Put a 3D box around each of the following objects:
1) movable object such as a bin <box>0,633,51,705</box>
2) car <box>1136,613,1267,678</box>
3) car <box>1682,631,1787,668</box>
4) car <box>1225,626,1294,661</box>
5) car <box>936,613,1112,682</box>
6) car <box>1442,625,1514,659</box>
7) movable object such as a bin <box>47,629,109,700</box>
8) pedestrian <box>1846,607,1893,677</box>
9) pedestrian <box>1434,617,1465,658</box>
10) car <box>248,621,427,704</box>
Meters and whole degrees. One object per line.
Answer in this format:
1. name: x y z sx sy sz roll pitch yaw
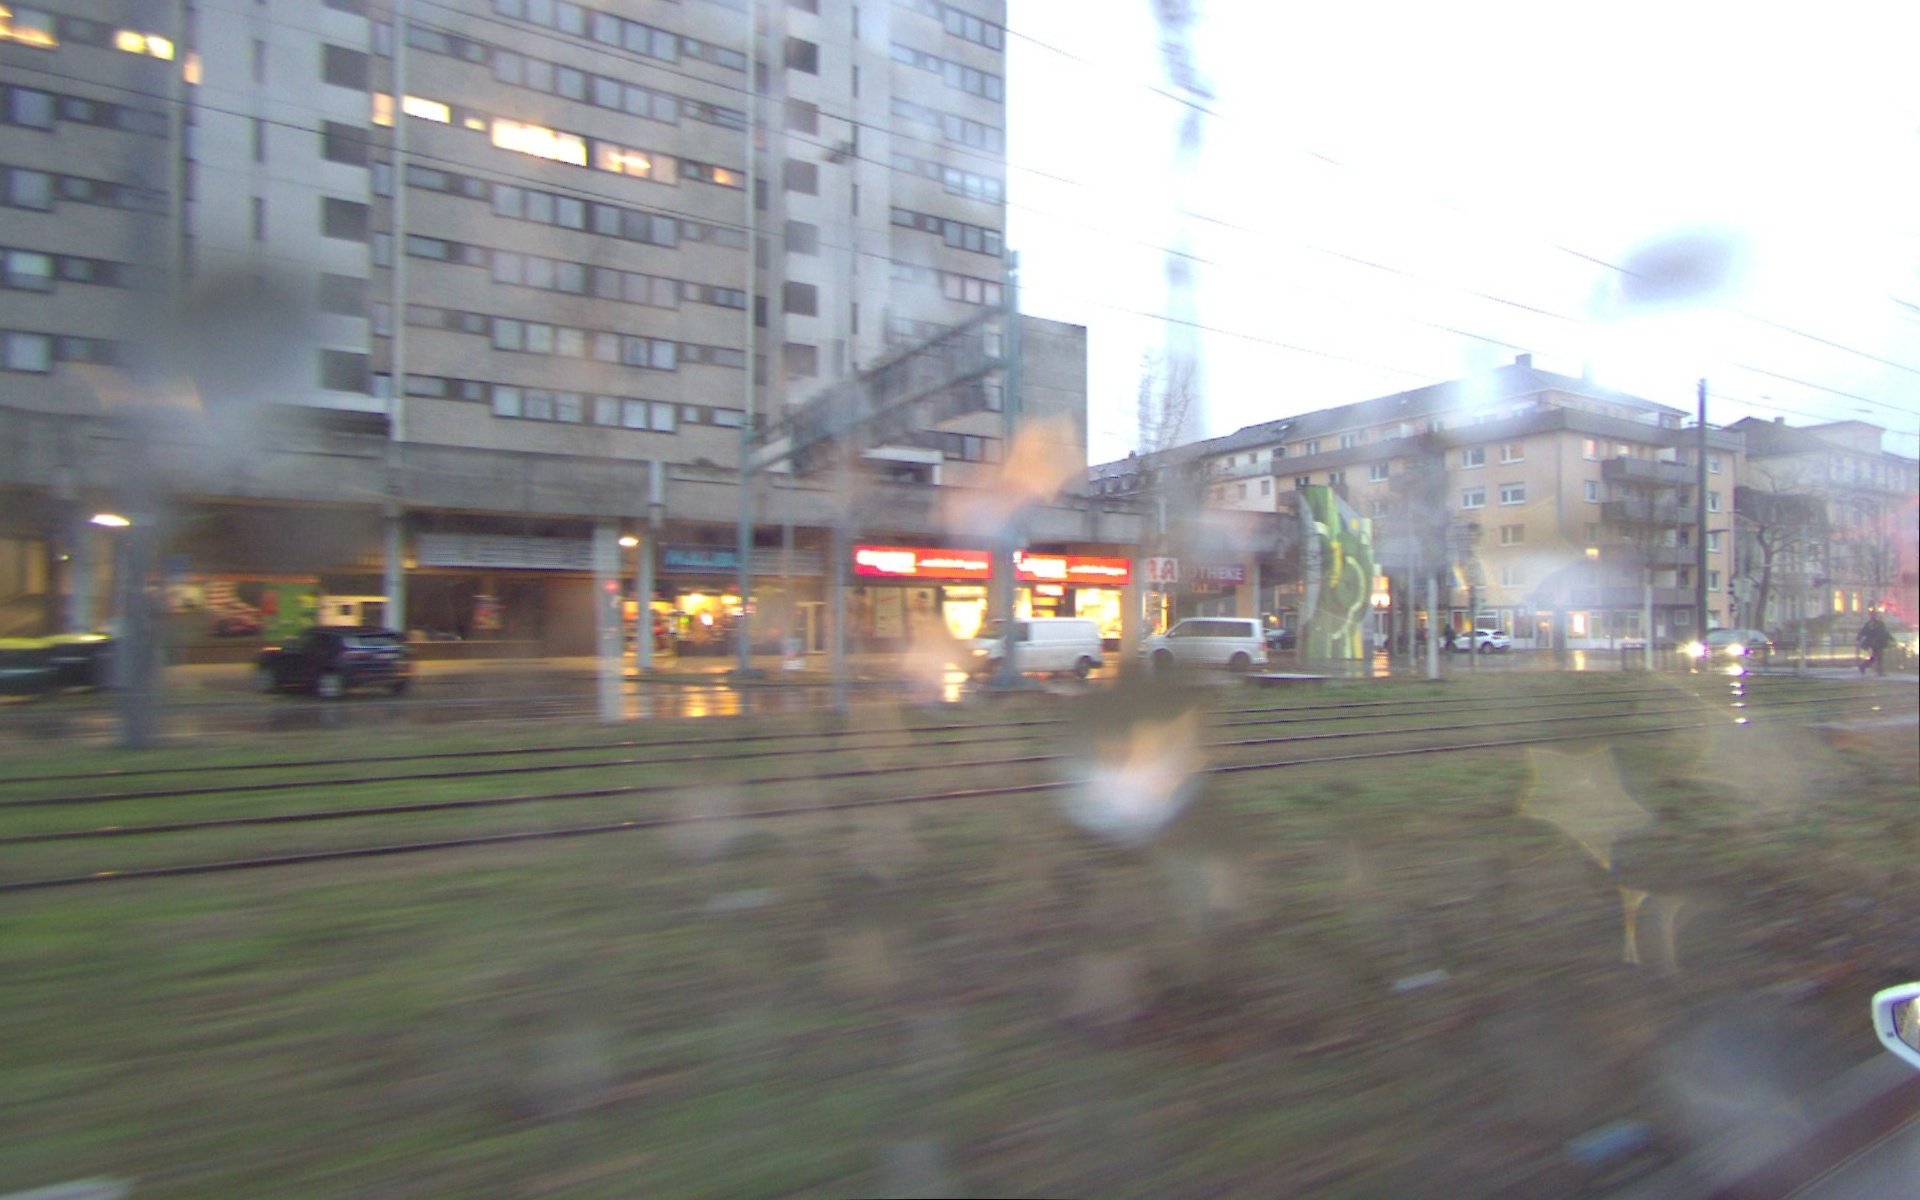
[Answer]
1. movable object such as a bin: -19.965 1.439 21.265 1.023 1.445 1.061 1 0 -41
2. car: 9.310 1.705 38.750 4.734 2.274 2.001 2 0 15
3. car: 31.354 1.989 40.649 4.264 1.350 1.850 2 0 -30
4. car: 18.273 2.631 61.212 3.829 2.040 1.885 1 0 -30
5. car: 2.141 1.542 33.154 5.489 2.073 1.988 2 0 -25
6. car: 33.763 2.720 65.552 1.825 1.968 3.721 1 0 -37
7. movable object such as a bin: -19.935 1.435 22.718 1.004 1.521 1.040 1 0 -41
8. pedestrian: 27.064 1.247 29.909 0.992 2.040 0.957 -1 -1 40
9. pedestrian: 24.532 1.881 50.323 1.253 2.040 1.004 -1 -1 37
10. car: -15.206 1.448 24.520 4.067 1.716 1.982 2 0 29
